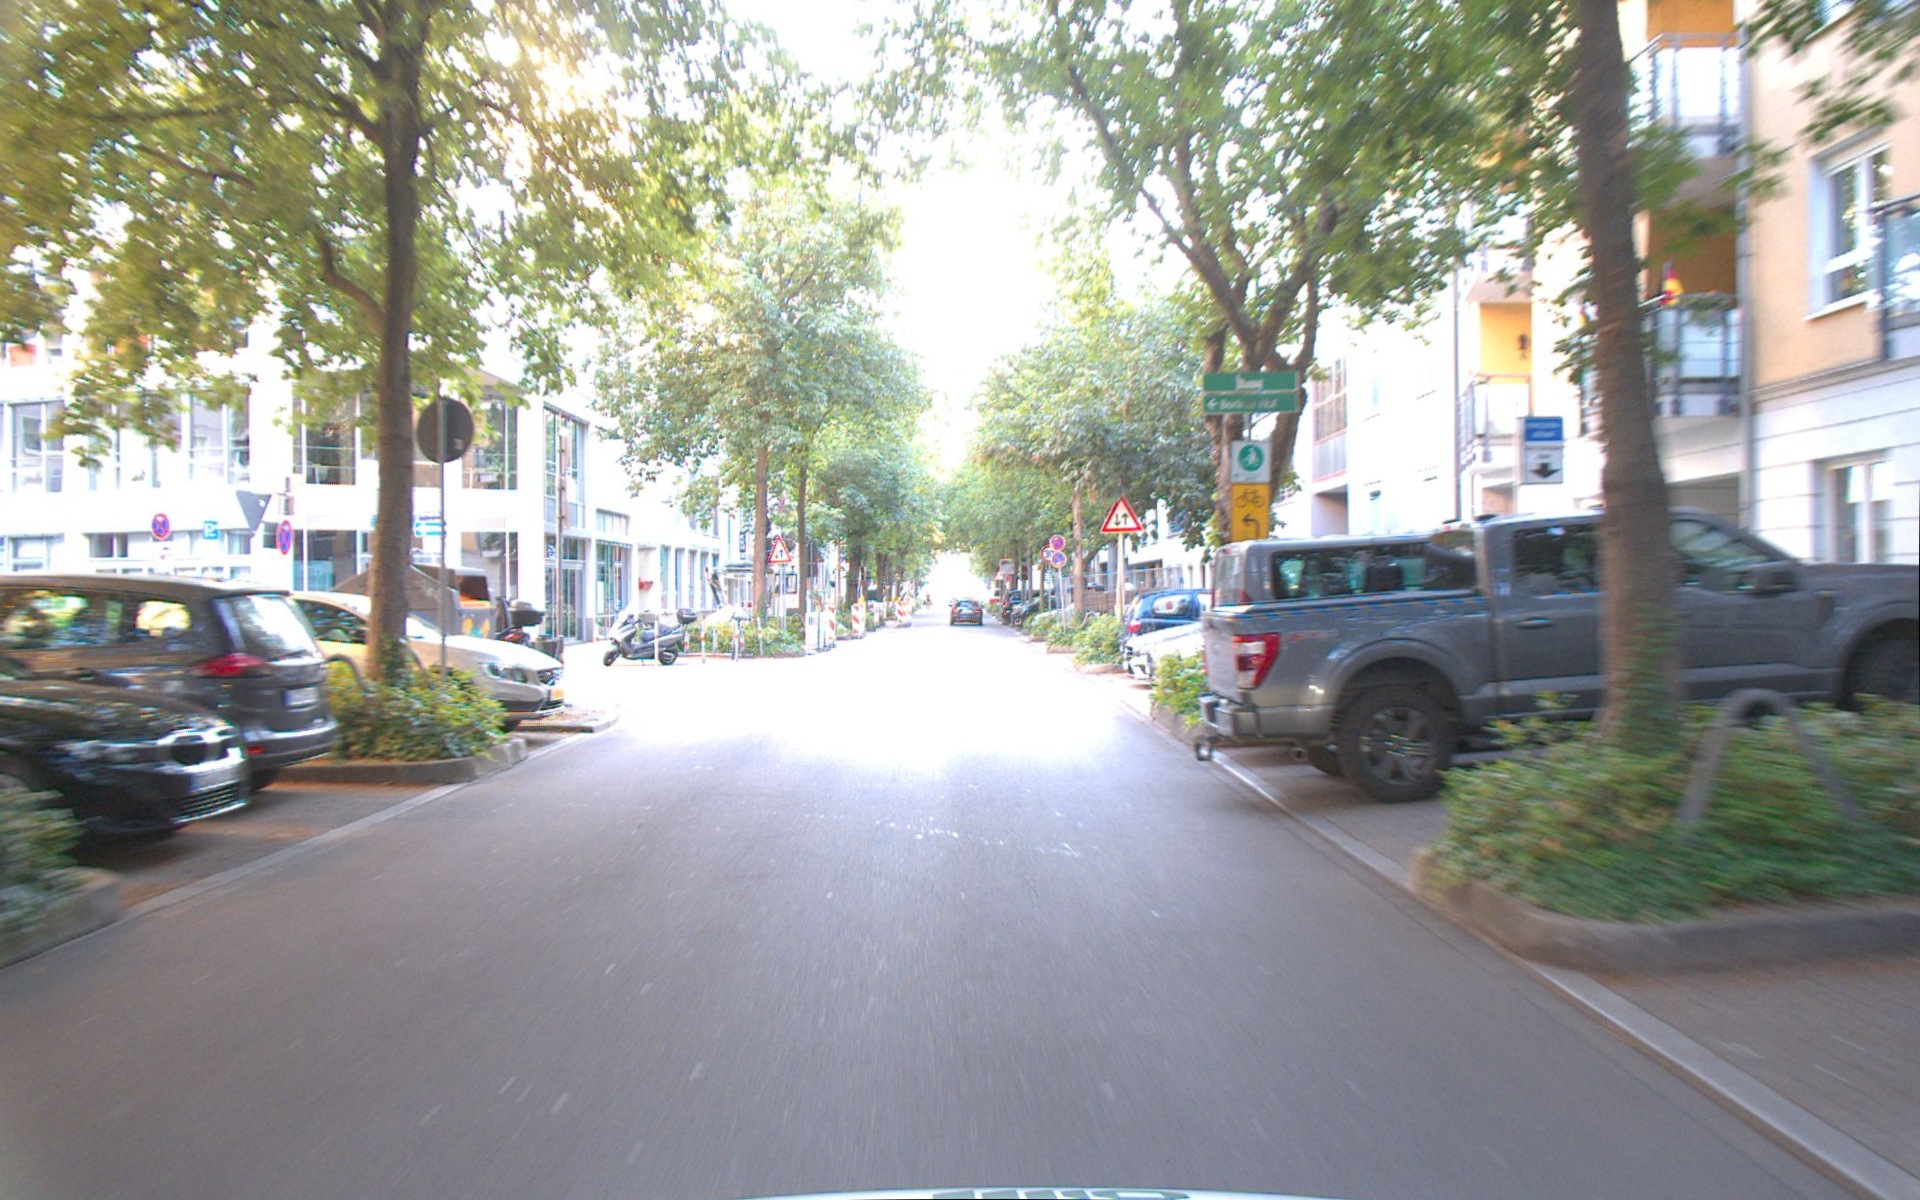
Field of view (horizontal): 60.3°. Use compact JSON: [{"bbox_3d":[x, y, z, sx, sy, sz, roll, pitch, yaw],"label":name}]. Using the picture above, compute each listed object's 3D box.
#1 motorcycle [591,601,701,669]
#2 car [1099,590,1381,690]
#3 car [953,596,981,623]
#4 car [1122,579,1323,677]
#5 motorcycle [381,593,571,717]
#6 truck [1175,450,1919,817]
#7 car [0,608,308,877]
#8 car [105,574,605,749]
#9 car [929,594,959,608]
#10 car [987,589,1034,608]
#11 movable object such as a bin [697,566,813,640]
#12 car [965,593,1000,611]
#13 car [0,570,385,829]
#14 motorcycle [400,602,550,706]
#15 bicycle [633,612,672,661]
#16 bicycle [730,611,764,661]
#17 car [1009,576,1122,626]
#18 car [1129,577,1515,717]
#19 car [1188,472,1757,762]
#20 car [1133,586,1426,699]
[{"bbox_3d":[-7.008,0.755,36.998,2.357,1.466,0.790,-1,0,-41],"label":"motorcycle"},{"bbox_3d":[4.547,0.624,27.135,4.201,1.534,1.868,0,0,-10],"label":"car"},{"bbox_3d":[0.362,0.519,90.092,1.470,1.441,3.713,-1,0,0],"label":"car"},{"bbox_3d":[4.662,0.492,29.728,3.282,1.552,1.746,-3,0,0],"label":"car"},{"bbox_3d":[-6.084,0.685,20.854,2.171,1.520,0.691,-1,0,1],"label":"motorcycle"},{"bbox_3d":[4.803,0.194,12.706,5.883,2.170,2.261,-5,0,0],"label":"truck"},{"bbox_3d":[-6.648,0.778,9.957,4.621,1.449,2.071,0,0,-2],"label":"car"},{"bbox_3d":[-6.158,0.612,17.264,4.406,1.609,2.055,1,0,0],"label":"car"},{"bbox_3d":[-2.220,0.178,229.166,3.912,1.948,1.774,0,0,-8],"label":"car"},{"bbox_3d":[4.351,-0.165,143.499,3.908,1.625,1.999,0,0,-4],"label":"car"},{"bbox_3d":[-6.811,0.094,55.320,3.591,2.373,2.582,-1,0,-2],"label":"movable object such as a bin"},{"bbox_3d":[2.605,0.232,187.545,3.904,2.049,2.000,-1,0,2],"label":"car"},{"bbox_3d":[-6.750,0.643,12.151,4.307,1.714,2.063,1,0,-2],"label":"car"},{"bbox_3d":[-6.801,0.741,23.147,2.176,1.398,0.722,-1,0,31],"label":"motorcycle"},{"bbox_3d":[-7.509,0.875,40.409,0.589,1.137,1.800,-1,1,0],"label":"bicycle"},{"bbox_3d":[-5.235,0.873,40.730,0.589,1.137,1.800,-1,1,0],"label":"bicycle"},{"bbox_3d":[4.628,0.057,73.041,4.870,2.124,1.738,-1,0,0],"label":"car"},{"bbox_3d":[4.710,0.594,21.953,4.699,1.734,1.835,0,0,-2],"label":"car"},{"bbox_3d":[4.590,0.143,15.370,4.526,2.170,2.036,-4,0,0],"label":"car"},{"bbox_3d":[4.698,0.610,24.690,3.985,1.590,1.853,0,0,-2],"label":"car"}]
